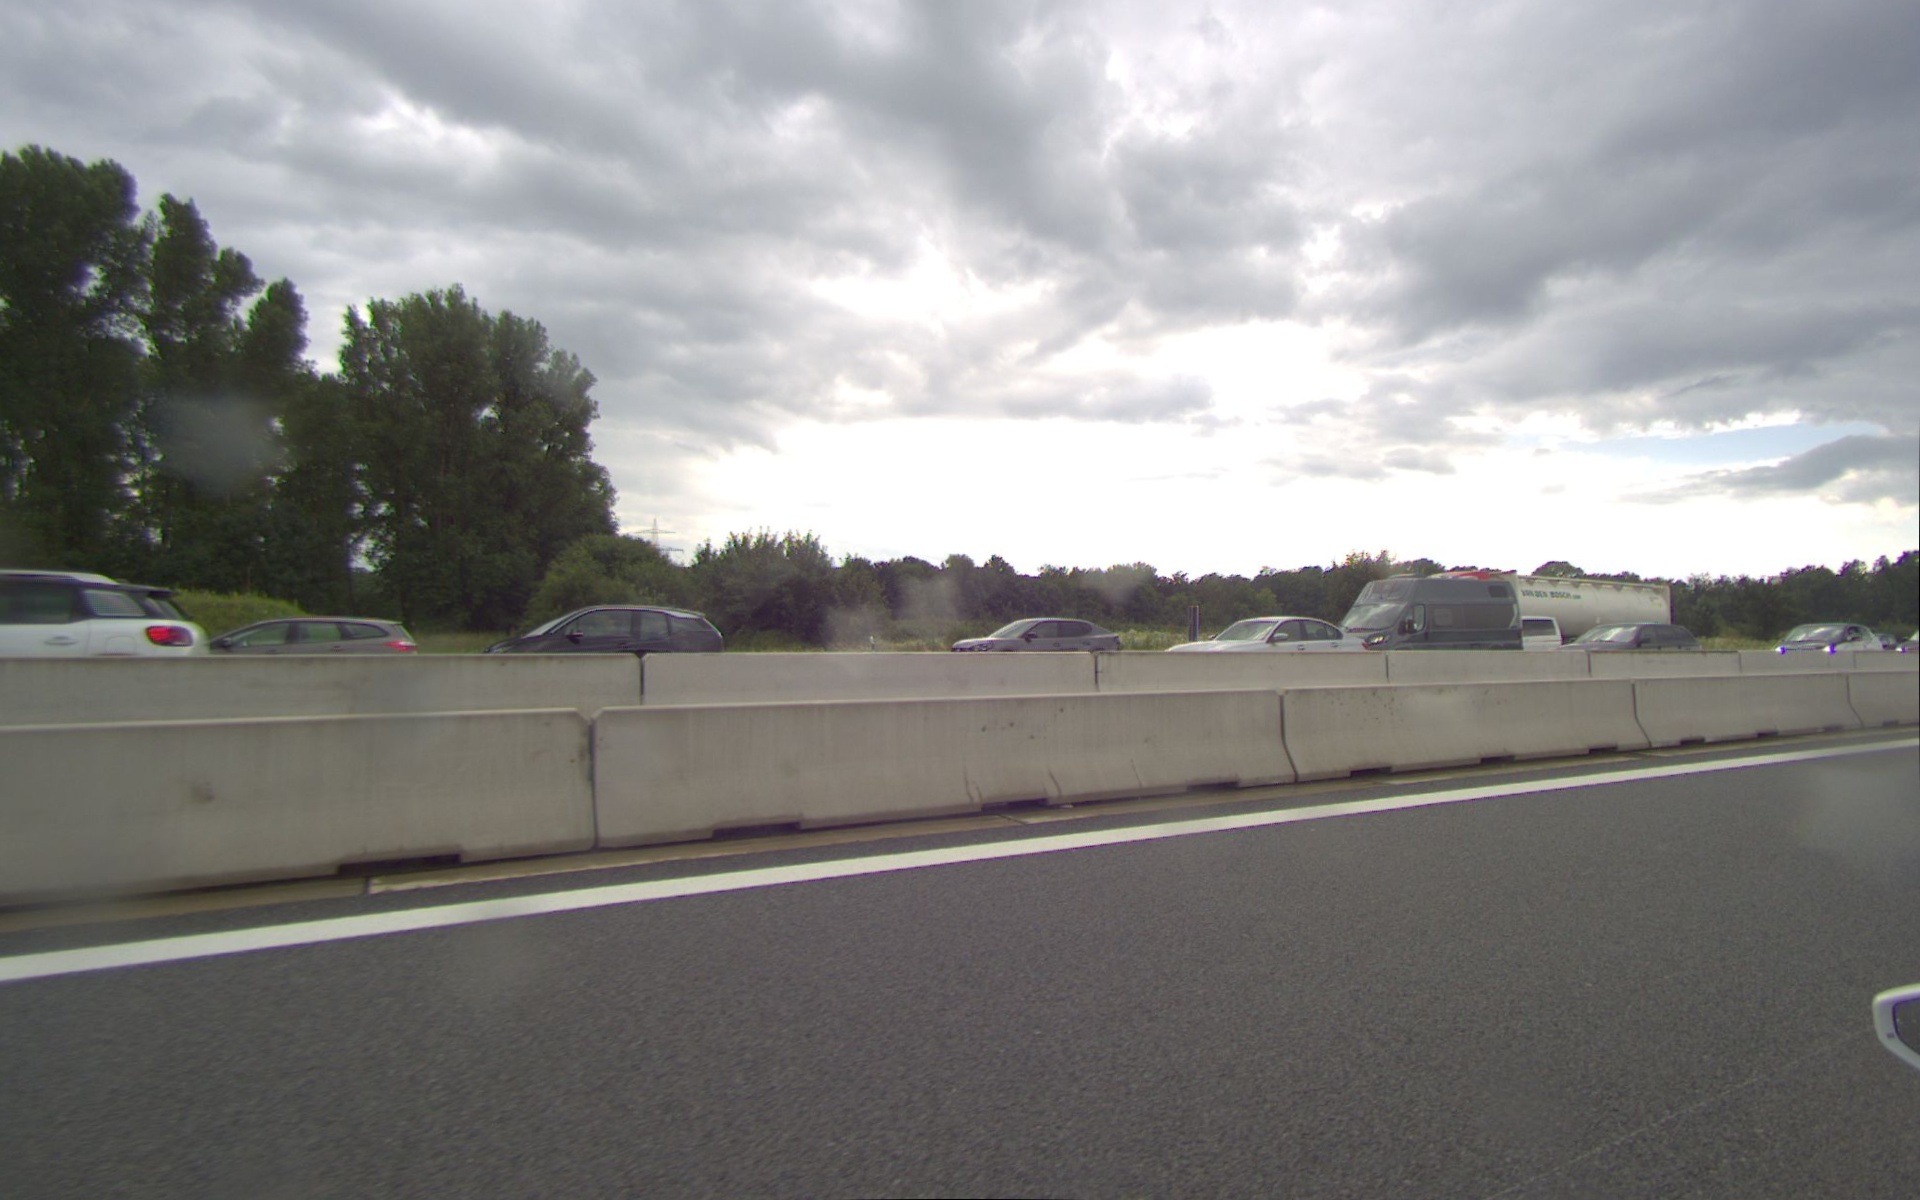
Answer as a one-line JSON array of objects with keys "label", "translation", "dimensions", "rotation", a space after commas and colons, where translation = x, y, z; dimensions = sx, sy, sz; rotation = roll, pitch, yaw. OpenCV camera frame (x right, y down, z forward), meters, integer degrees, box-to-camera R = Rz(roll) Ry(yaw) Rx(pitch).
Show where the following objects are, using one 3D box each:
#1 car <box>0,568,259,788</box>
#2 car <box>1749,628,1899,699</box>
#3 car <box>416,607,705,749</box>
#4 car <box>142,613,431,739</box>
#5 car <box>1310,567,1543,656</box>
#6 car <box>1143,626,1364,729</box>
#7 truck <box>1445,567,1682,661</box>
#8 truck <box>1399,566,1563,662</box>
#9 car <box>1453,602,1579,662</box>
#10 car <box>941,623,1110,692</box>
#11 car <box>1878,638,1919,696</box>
[{"label": "car", "translation": [-9.694, 0.717, 10.014], "dimensions": [4.214, 2.040, 1.984], "rotation": [1, 0, -30]}, {"label": "car", "translation": [26.350, 1.882, 30.604], "dimensions": [4.639, 1.993, 1.985], "rotation": [1, 0, -29]}, {"label": "car", "translation": [-6.543, 1.185, 16.493], "dimensions": [4.177, 2.040, 1.985], "rotation": [1, 0, -29]}, {"label": "car", "translation": [-12.066, 1.299, 18.387], "dimensions": [4.177, 2.040, 1.985], "rotation": [1, 0, -29]}, {"label": "car", "translation": [12.814, 0.361, 27.397], "dimensions": [6.734, 2.194, 2.249], "rotation": [1, 0, -29]}, {"label": "car", "translation": [5.621, 1.404, 19.183], "dimensions": [3.951, 1.742, 1.796], "rotation": [1, 0, -29]}, {"label": "truck", "translation": [27.455, 0.714, 45.291], "dimensions": [13.140, 3.795, 3.134], "rotation": [1, 0, -30]}, {"label": "truck", "translation": [21.820, 0.605, 42.018], "dimensions": [6.241, 3.761, 3.137], "rotation": [1, 0, -29]}, {"label": "car", "translation": [19.664, 1.117, 35.519], "dimensions": [4.161, 1.973, 1.985], "rotation": [1, 0, -29]}, {"label": "car", "translation": [1.655, 1.385, 24.913], "dimensions": [3.953, 1.542, 1.608], "rotation": [1, 0, -30]}, {"label": "car", "translation": [35.303, 2.397, 36.155], "dimensions": [4.639, 1.993, 1.985], "rotation": [1, 0, -29]}]
